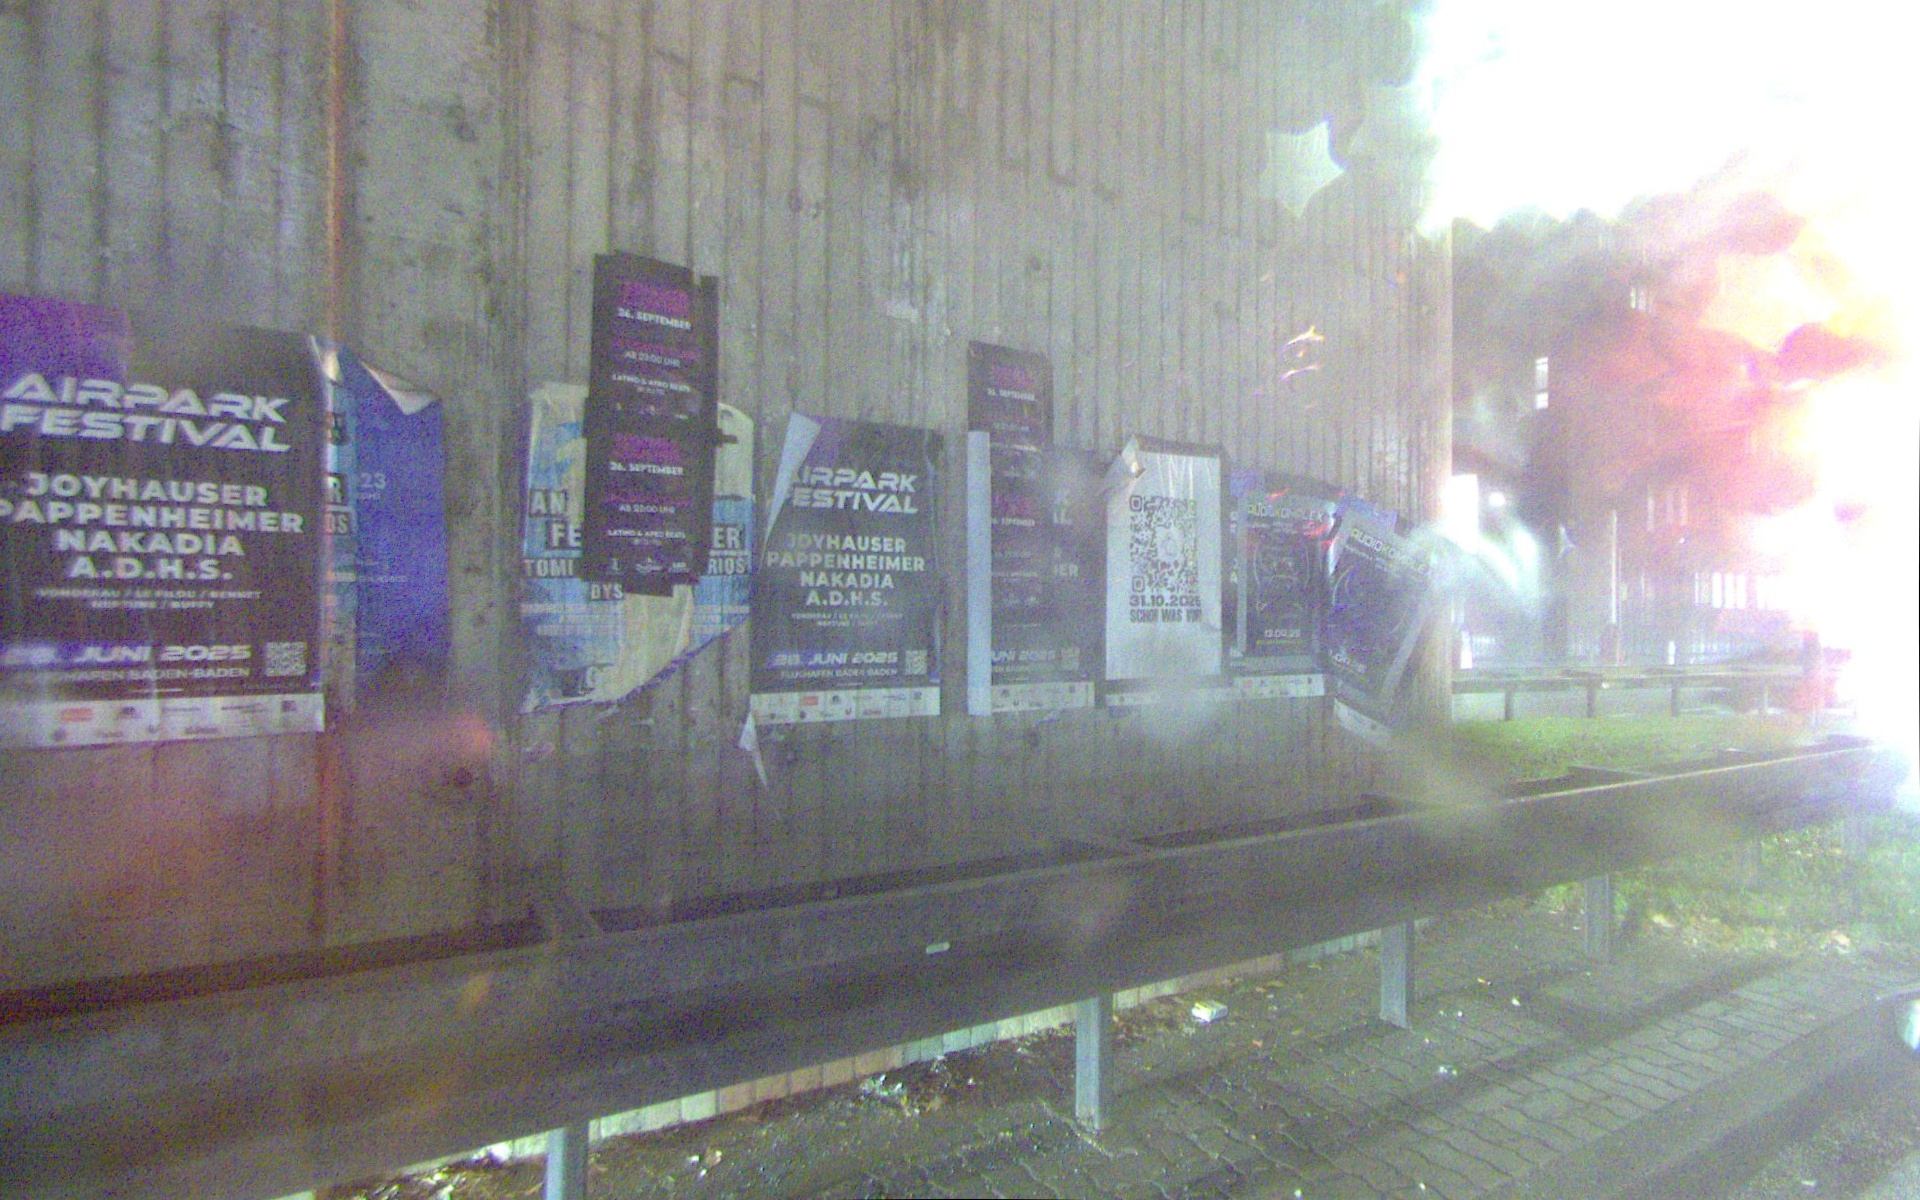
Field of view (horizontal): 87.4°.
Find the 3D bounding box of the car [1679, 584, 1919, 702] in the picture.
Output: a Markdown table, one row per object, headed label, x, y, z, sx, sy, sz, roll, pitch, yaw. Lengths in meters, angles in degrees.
| label | x | y | z | sx | sy | sz | roll | pitch | yaw |
| --- | --- | --- | --- | --- | --- | --- | --- | --- | --- |
| car | 15.041 | 0.712 | 16.514 | 4.818 | 1.764 | 1.972 | 2 | 0 | 10 |
